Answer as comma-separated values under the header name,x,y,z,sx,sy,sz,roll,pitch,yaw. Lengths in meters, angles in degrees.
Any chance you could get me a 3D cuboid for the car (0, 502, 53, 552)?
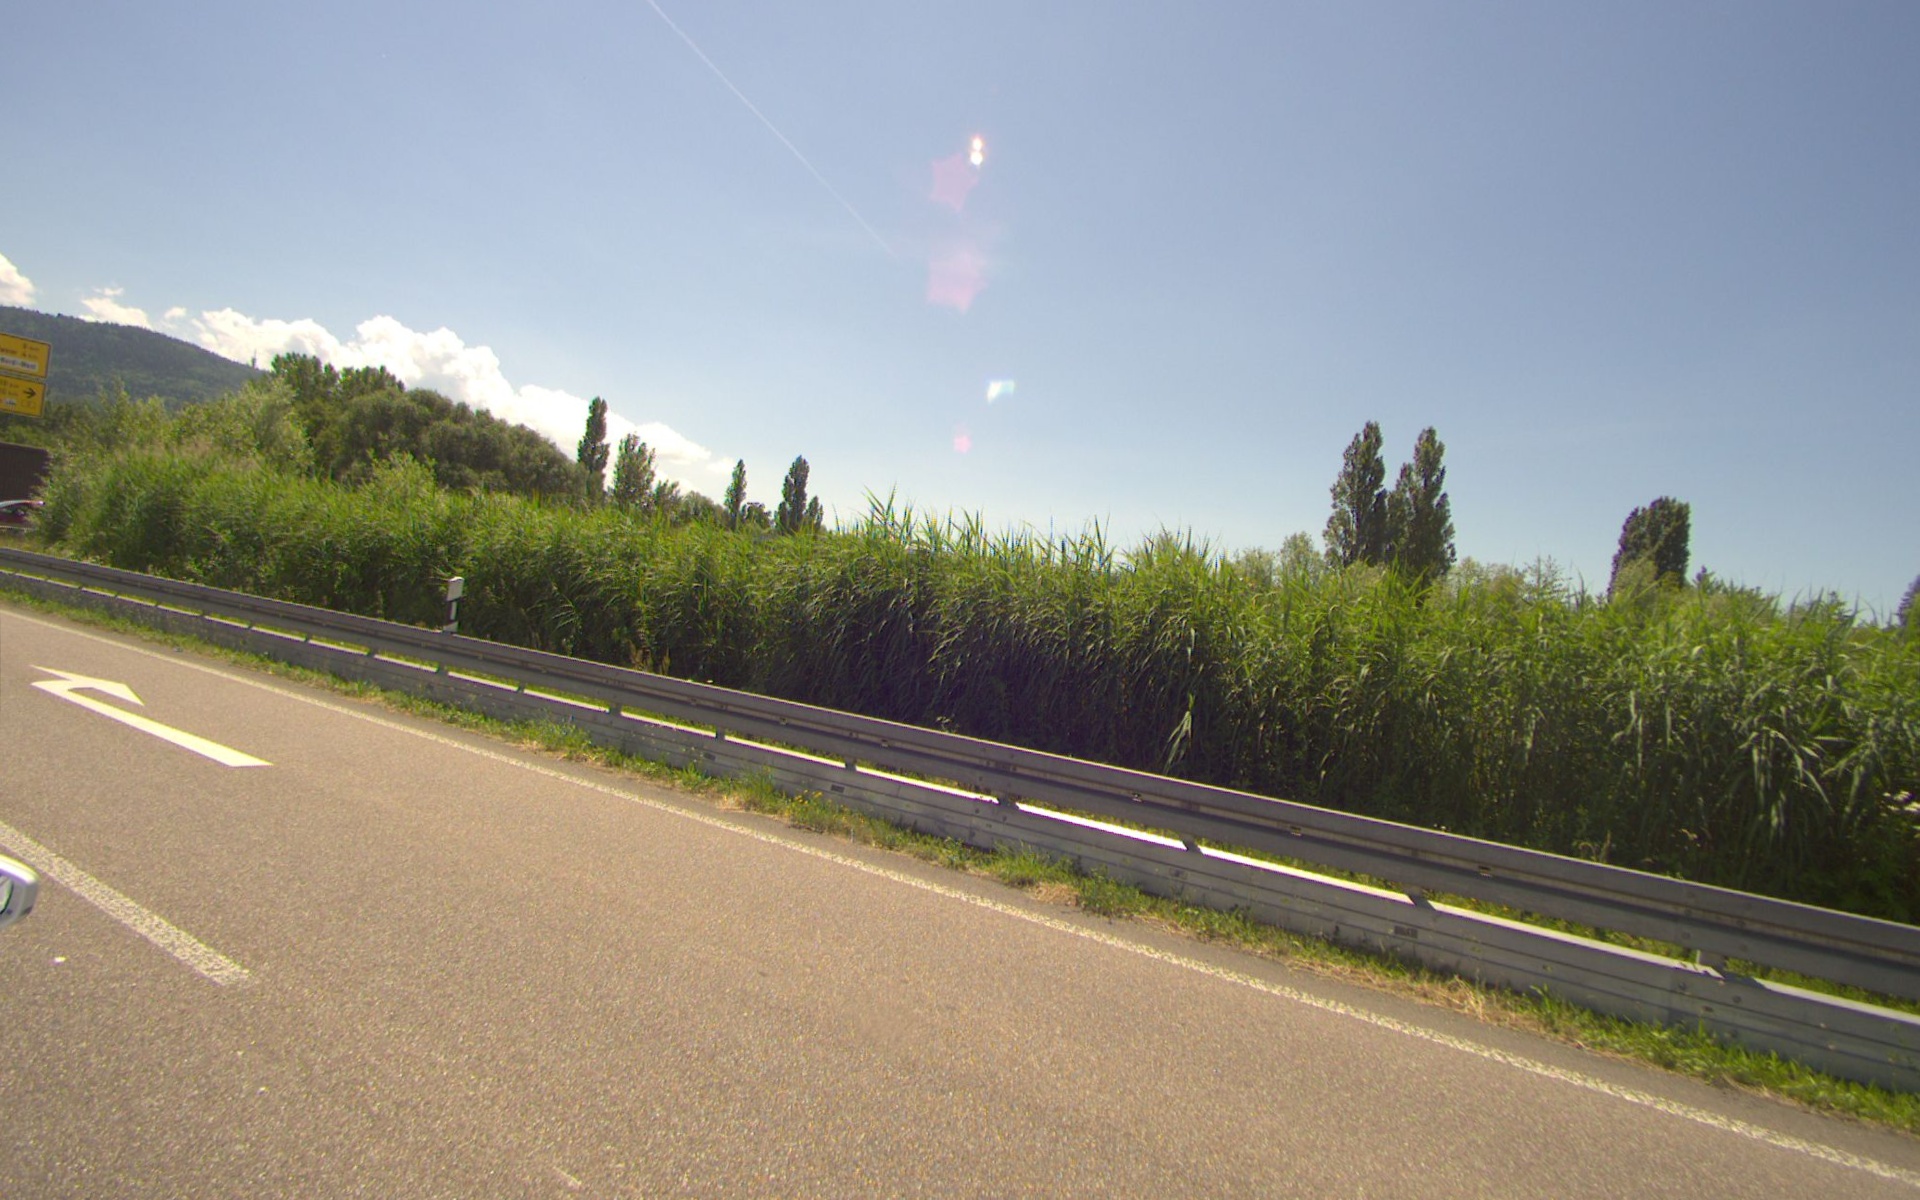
name,x,y,z,sx,sy,sz,roll,pitch,yaw
car,-36.968,-2.973,37.382,1.966,1.675,4.321,7,-2,29
